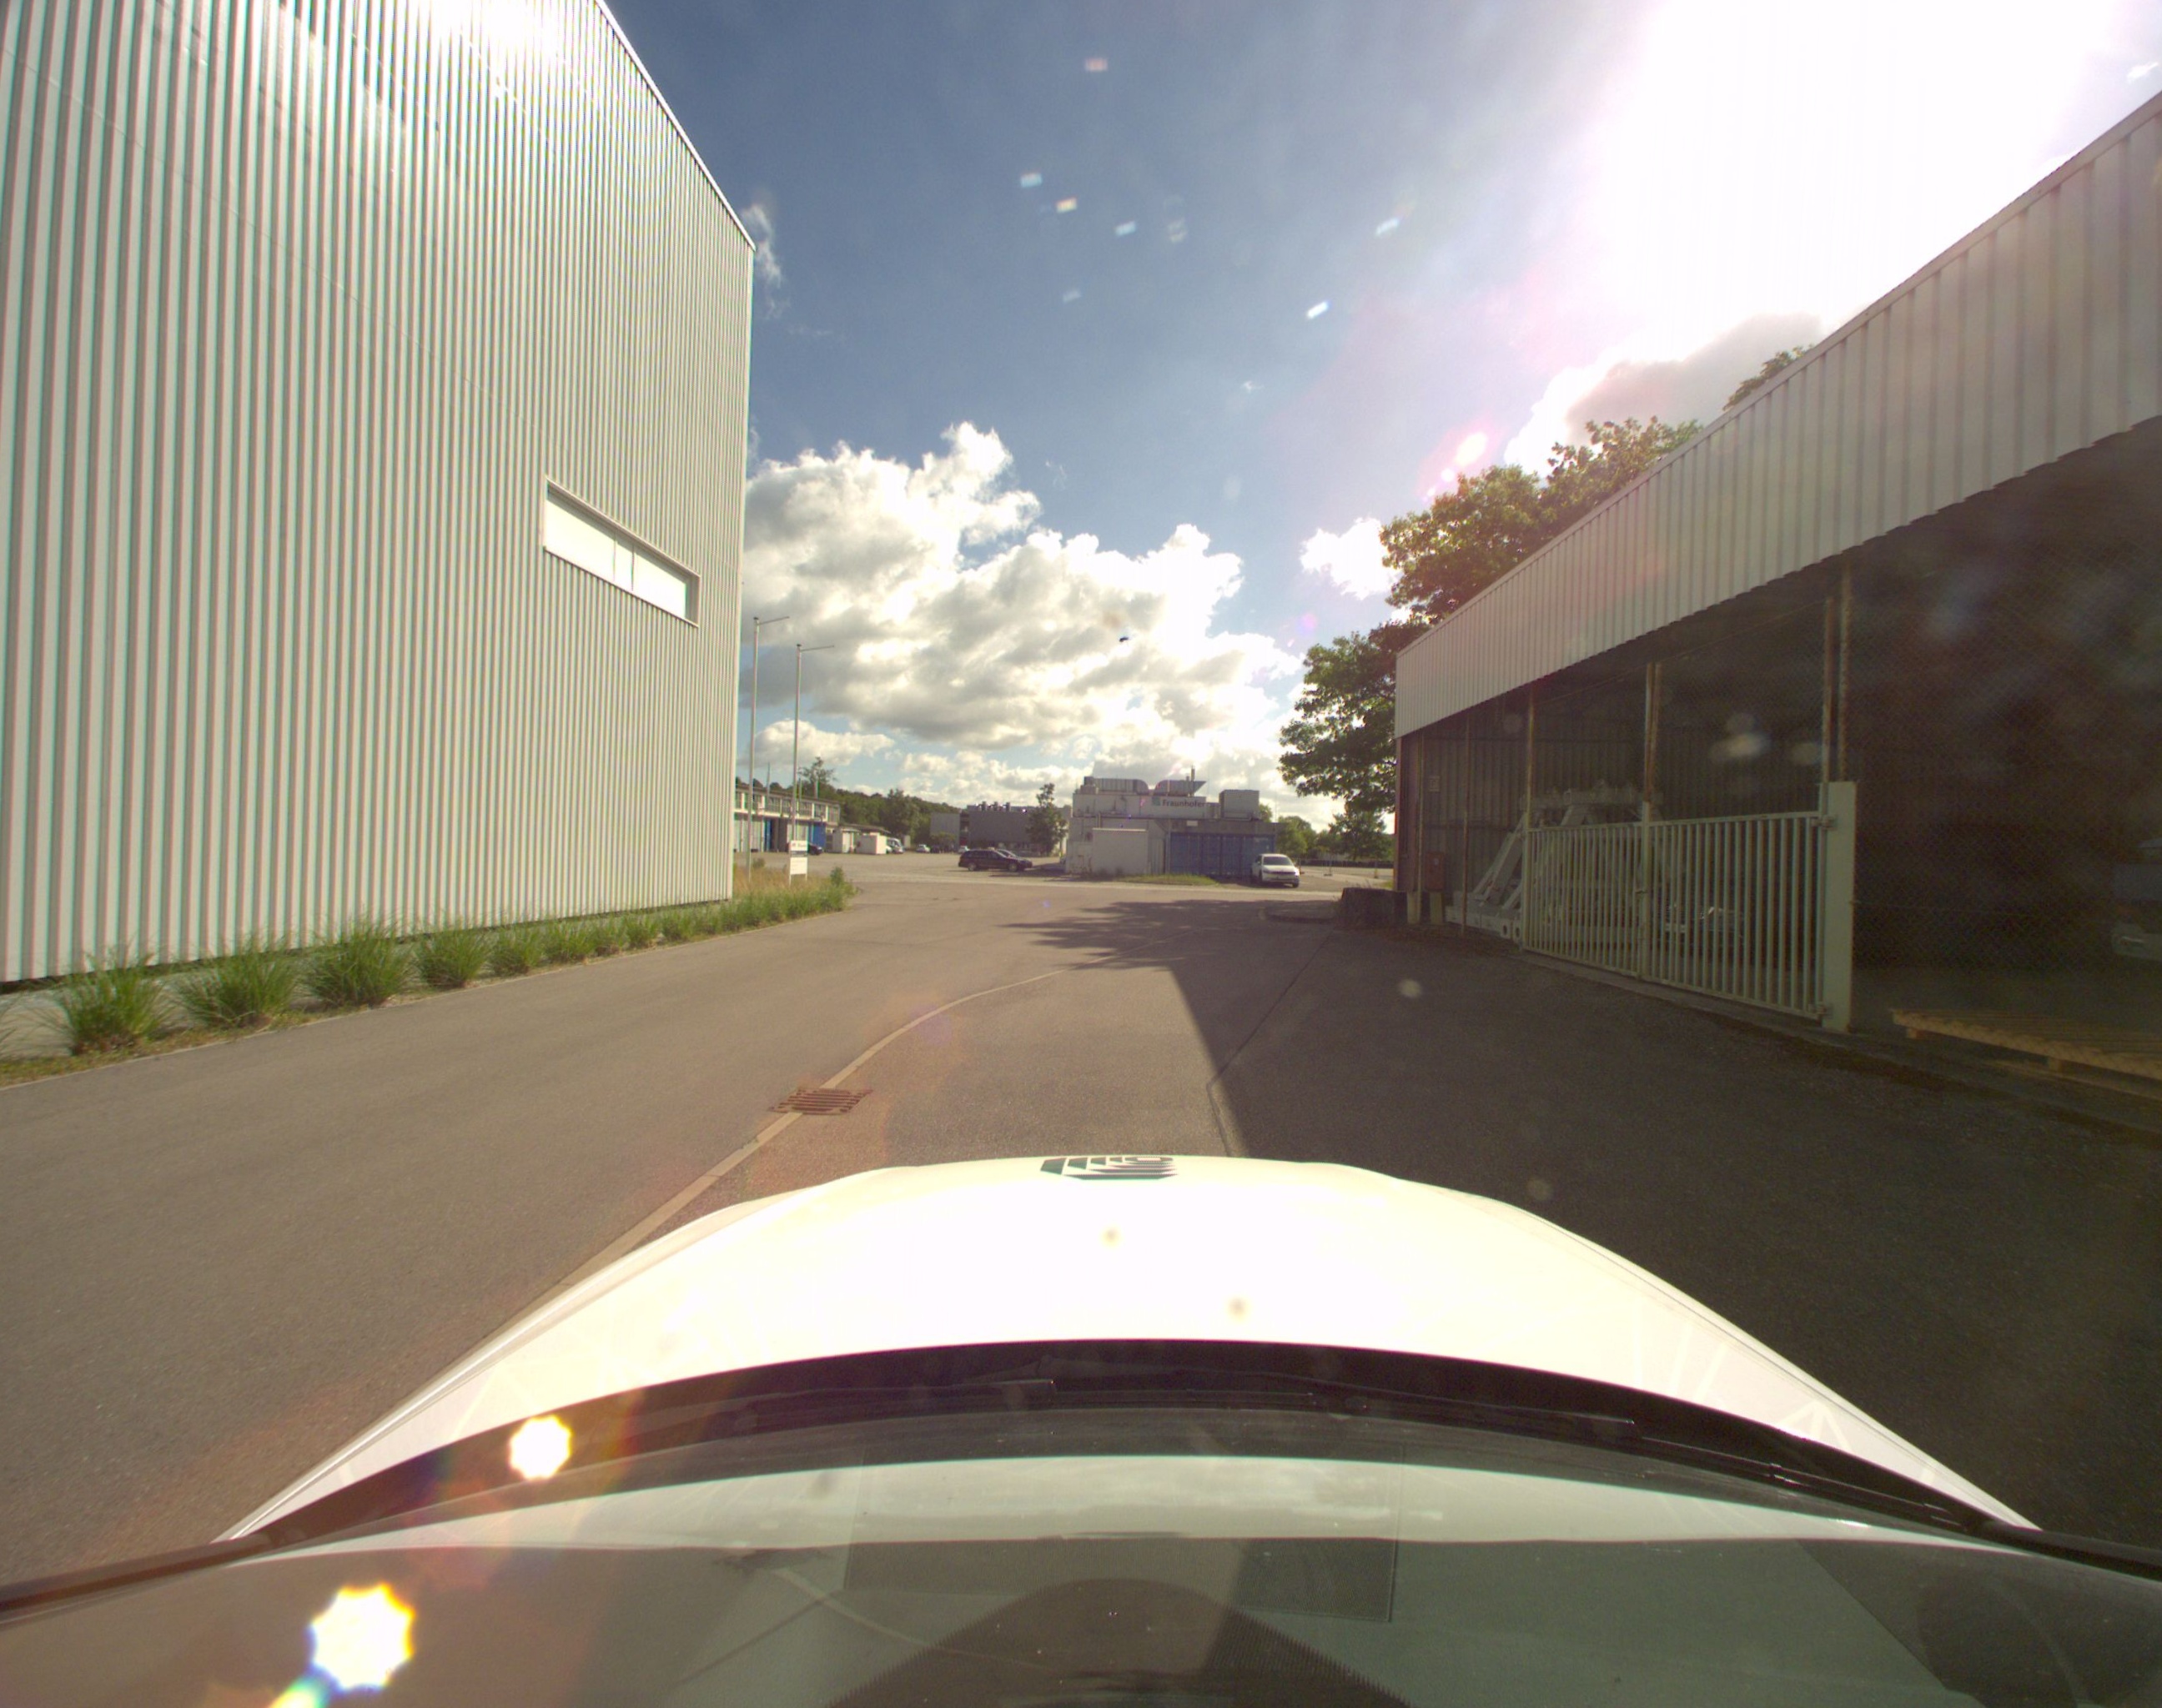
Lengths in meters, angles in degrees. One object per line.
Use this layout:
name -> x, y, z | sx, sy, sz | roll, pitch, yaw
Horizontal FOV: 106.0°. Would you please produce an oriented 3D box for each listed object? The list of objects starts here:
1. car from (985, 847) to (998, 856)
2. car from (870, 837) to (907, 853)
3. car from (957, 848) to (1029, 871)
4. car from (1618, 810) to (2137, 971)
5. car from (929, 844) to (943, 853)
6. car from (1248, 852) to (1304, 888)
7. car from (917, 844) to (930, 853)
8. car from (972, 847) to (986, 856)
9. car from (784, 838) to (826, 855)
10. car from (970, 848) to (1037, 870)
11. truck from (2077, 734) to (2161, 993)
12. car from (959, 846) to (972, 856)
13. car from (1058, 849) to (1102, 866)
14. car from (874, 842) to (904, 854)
car -> -16.782, -0.494, 152.862 | 1.871, 1.537, 4.036 | 0, 0, 1
car -> -30.690, -1.413, 129.711 | 5.230, 2.442, 2.054 | 2, 0, 7
car -> -5.934, 0.401, 55.198 | 4.510, 1.443, 1.989 | 1, -2, 3
car -> 10.767, 0.475, 11.337 | 5.152, 1.918, 2.276 | 1, 0, -2
car -> -27.215, -0.988, 152.998 | 1.872, 1.537, 4.033 | 0, 0, -2
car -> 9.955, 0.759, 41.890 | 1.973, 1.593, 4.344 | 2, 1, 3
car -> -29.650, -1.040, 153.222 | 1.841, 1.668, 4.130 | 0, 0, -2
car -> -19.112, -0.482, 152.740 | 1.871, 1.537, 4.036 | 0, 0, 1
car -> -31.619, -0.816, 93.305 | 4.147, 1.666, 1.784 | 3, 0, 1
car -> -5.512, 0.399, 58.443 | 4.510, 1.443, 1.905 | 1, -2, 3
truck -> 14.032, 0.132, 7.964 | 5.543, 2.706, 2.368 | 1, 0, 3
car -> -21.658, -0.544, 153.002 | 1.871, 1.689, 4.036 | 0, 0, 1
car -> -0.068, 0.403, 82.738 | 4.261, 1.569, 1.989 | 1, -2, 3
car -> -29.892, -0.938, 126.728 | 4.088, 1.630, 1.811 | 2, 0, 7
